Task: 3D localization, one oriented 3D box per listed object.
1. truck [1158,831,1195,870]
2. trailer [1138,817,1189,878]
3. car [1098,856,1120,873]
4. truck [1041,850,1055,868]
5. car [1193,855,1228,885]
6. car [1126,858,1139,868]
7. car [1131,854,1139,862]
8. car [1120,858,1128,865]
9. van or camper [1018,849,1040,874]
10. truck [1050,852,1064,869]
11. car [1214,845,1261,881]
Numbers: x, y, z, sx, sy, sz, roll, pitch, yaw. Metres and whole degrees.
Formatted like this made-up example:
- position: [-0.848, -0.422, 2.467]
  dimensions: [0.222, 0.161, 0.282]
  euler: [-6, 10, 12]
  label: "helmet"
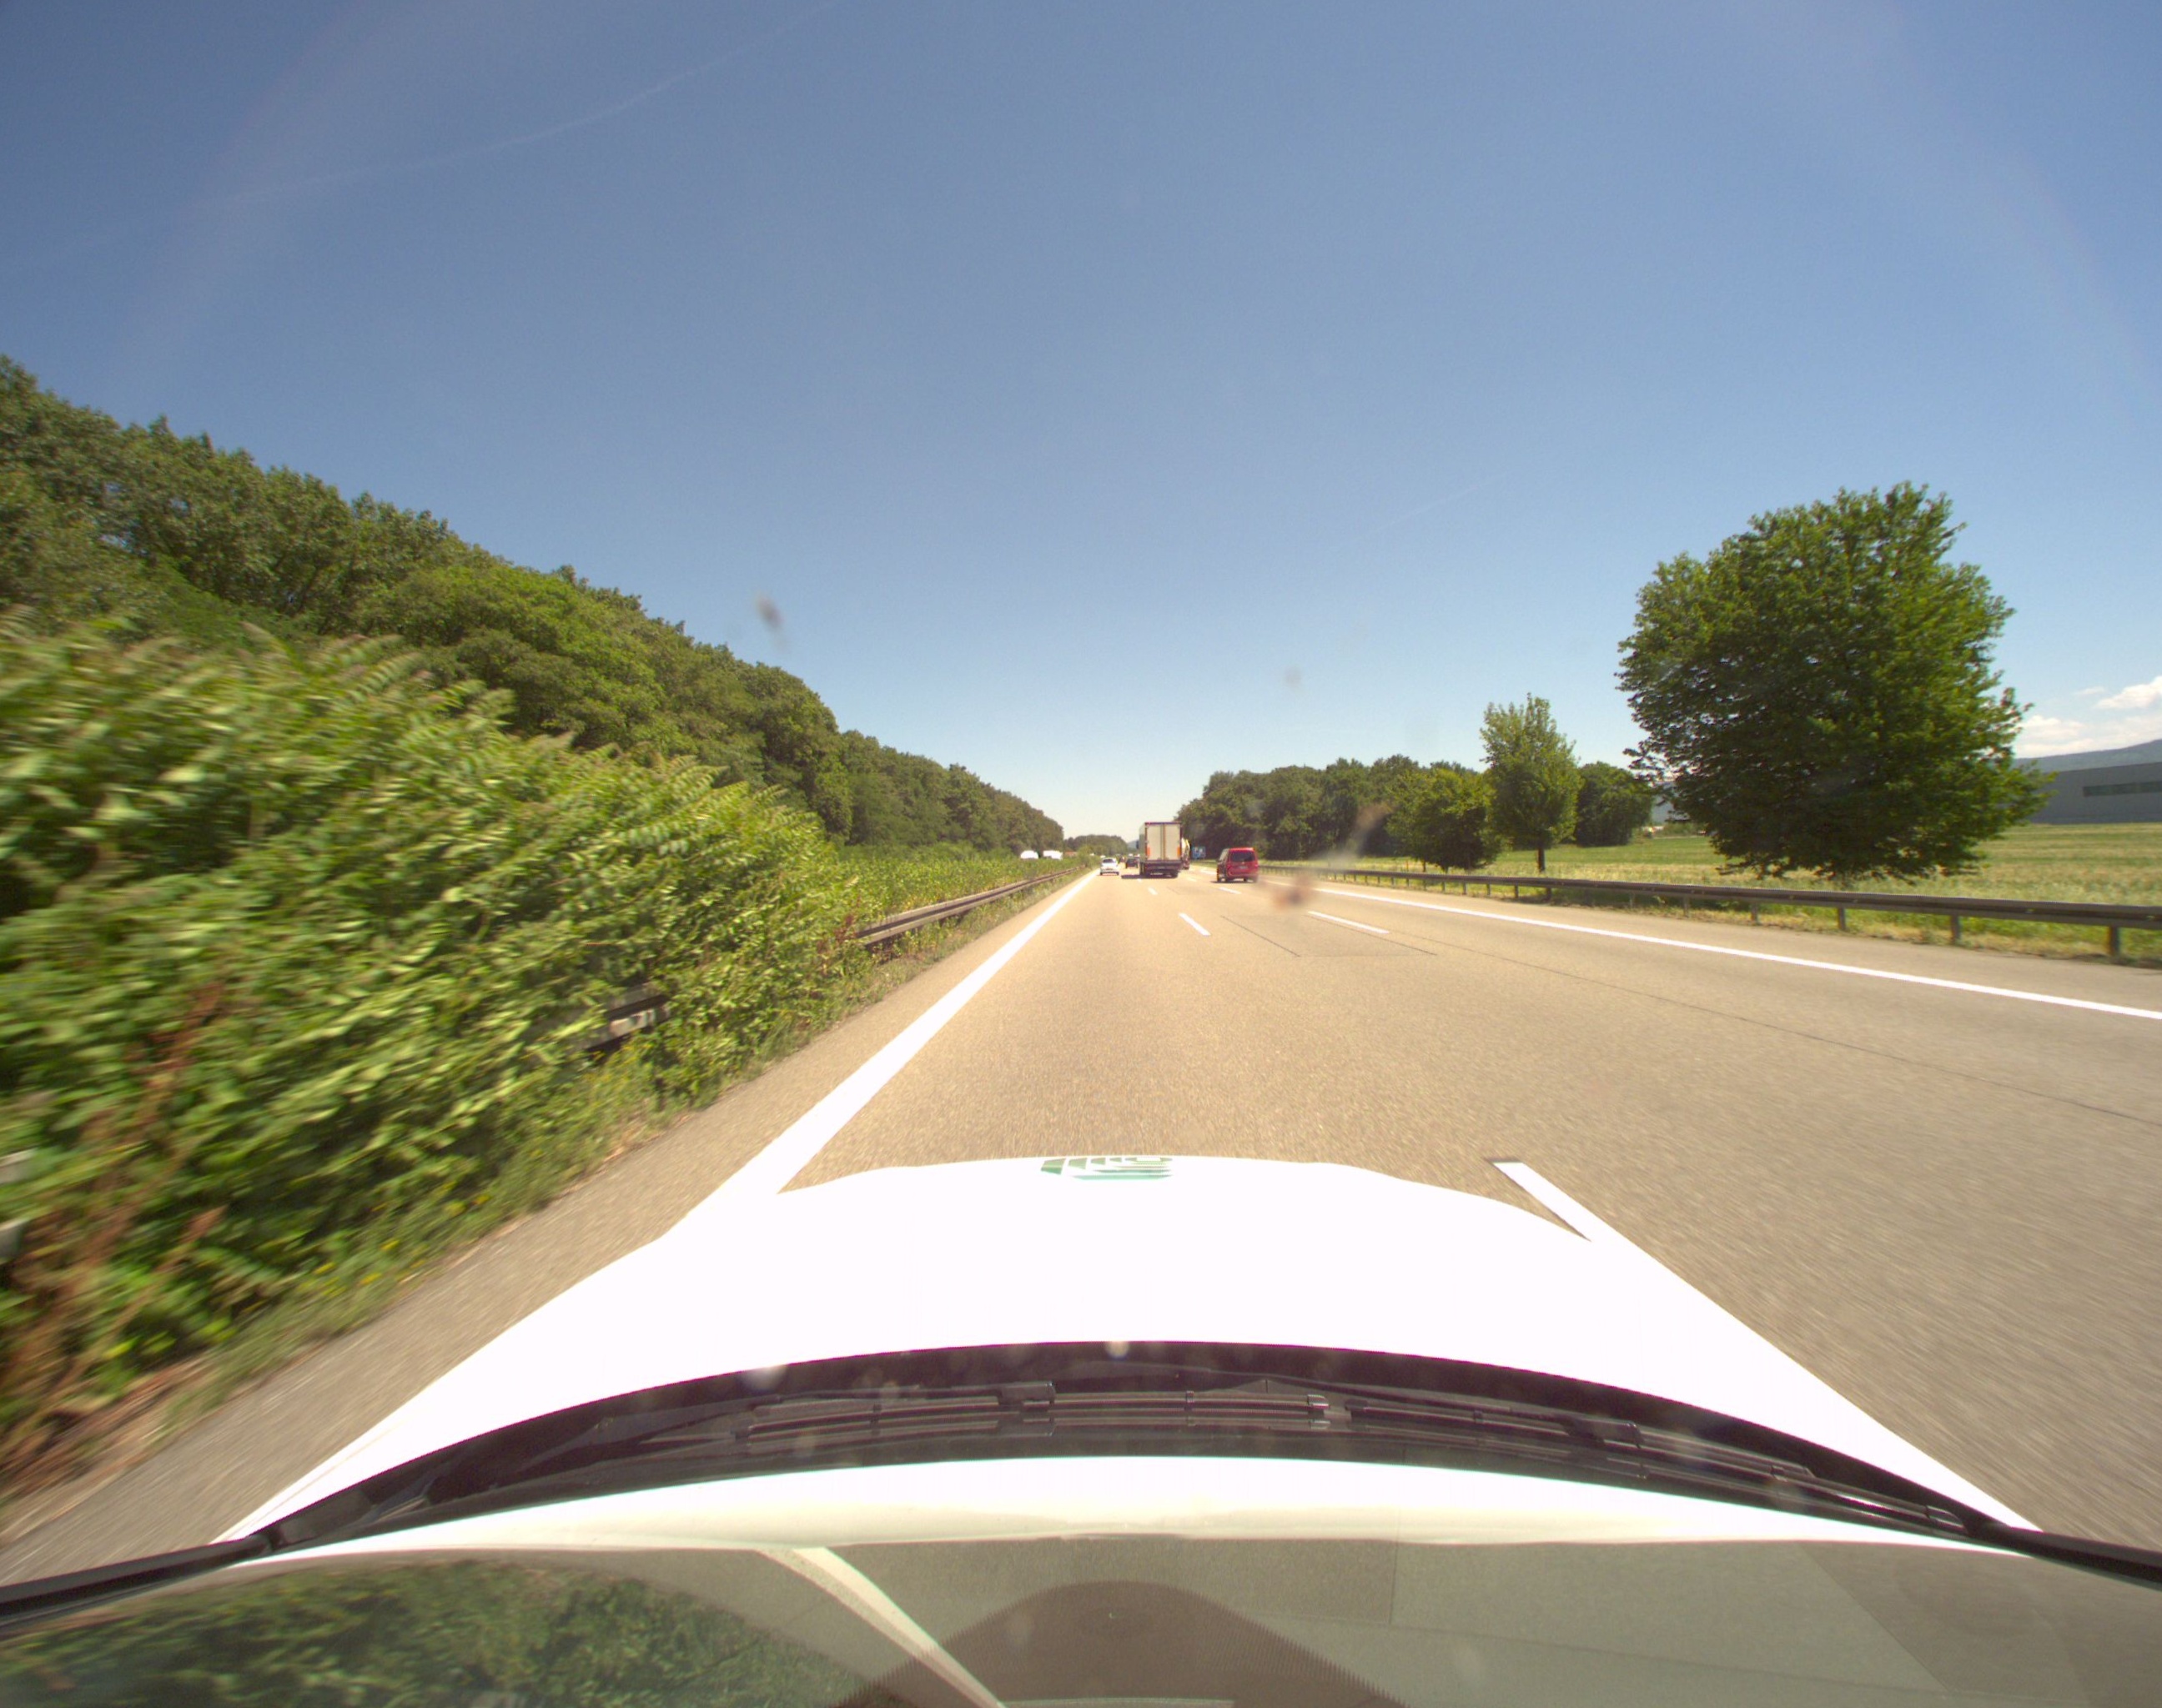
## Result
- position: [11.616, -0.380, 99.858]
  dimensions: [3.213, 4.345, 10.806]
  euler: [-2, 0, 0]
  label: "truck"
- position: [6.157, -0.442, 62.613]
  dimensions: [3.210, 4.143, 12.361]
  euler: [-2, 0, 3]
  label: "trailer"
- position: [2.436, 0.907, 72.044]
  dimensions: [1.806, 1.405, 3.316]
  euler: [-2, 0, 0]
  label: "car"
- position: [-7.733, 1.068, 191.923]
  dimensions: [2.822, 4.034, 4.188]
  euler: [-3, -1, 3]
  label: "truck"
- position: [9.320, 1.107, 58.850]
  dimensions: [1.986, 2.013, 4.002]
  euler: [-2, 0, 2]
  label: "car"
- position: [7.118, 1.252, 113.689]
  dimensions: [1.662, 1.289, 4.001]
  euler: [-2, 0, 1]
  label: "car"
- position: [13.444, 0.972, 201.901]
  dimensions: [1.662, 1.765, 4.001]
  euler: [-2, 0, 1]
  label: "car"
- position: [11.980, 2.166, 228.400]
  dimensions: [2.099, 2.014, 4.001]
  euler: [-1, 0, 2]
  label: "car"
- position: [-6.108, 0.869, 96.391]
  dimensions: [1.986, 2.846, 7.002]
  euler: [-2, 0, 1]
  label: "van or camper"
- position: [-5.072, 1.346, 173.482]
  dimensions: [2.401, 3.353, 7.002]
  euler: [-4, 0, 1]
  label: "truck"
- position: [9.210, 0.497, 48.388]
  dimensions: [1.849, 2.003, 5.523]
  euler: [-1, 0, 1]
  label: "car"
